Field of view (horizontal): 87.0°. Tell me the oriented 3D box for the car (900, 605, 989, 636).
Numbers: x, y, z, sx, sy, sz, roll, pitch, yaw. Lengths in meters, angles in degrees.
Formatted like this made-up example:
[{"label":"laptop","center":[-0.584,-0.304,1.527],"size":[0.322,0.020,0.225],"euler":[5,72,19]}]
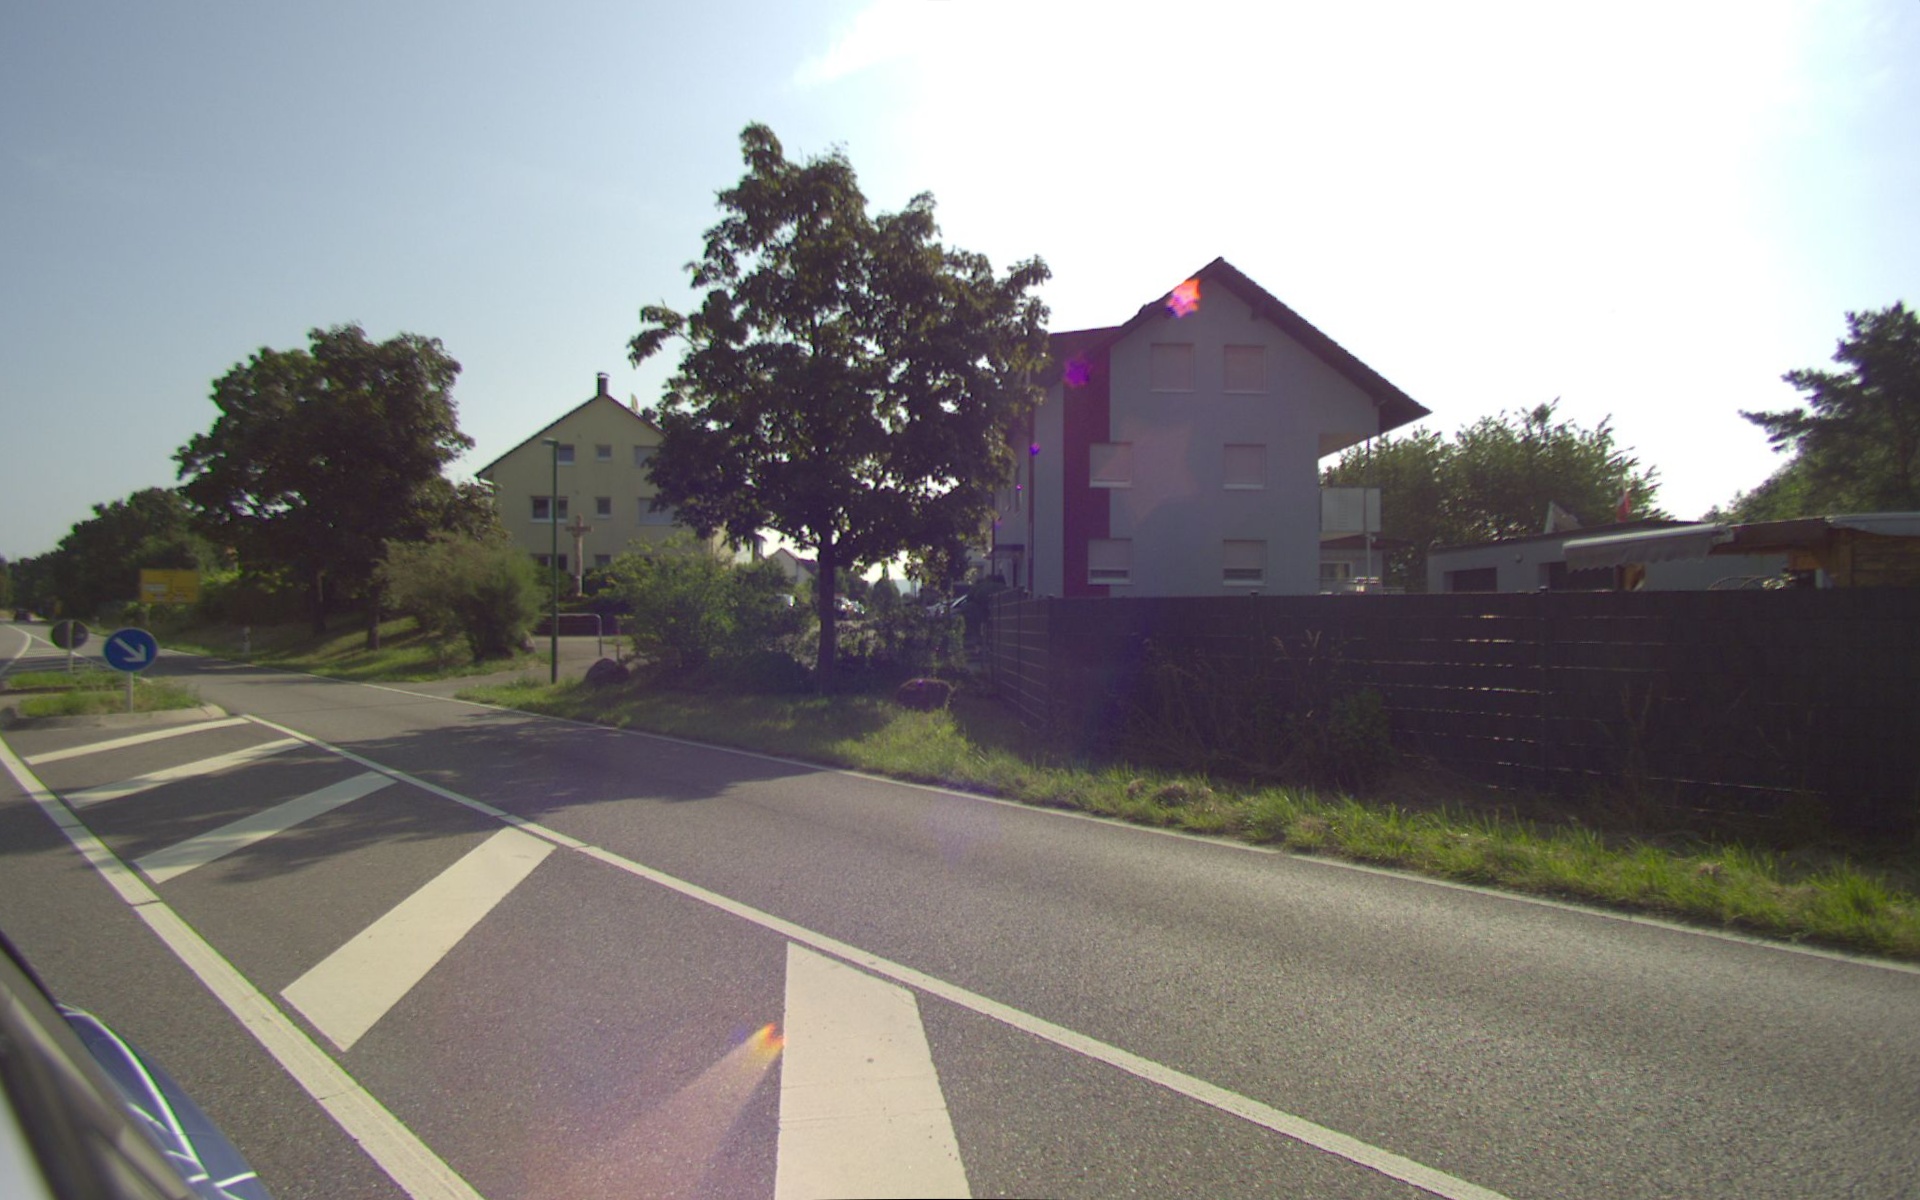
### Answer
[{"label":"car","center":[-0.691,0.949,46.926],"size":[4.030,1.383,1.810],"euler":[0,-1,4]}]
